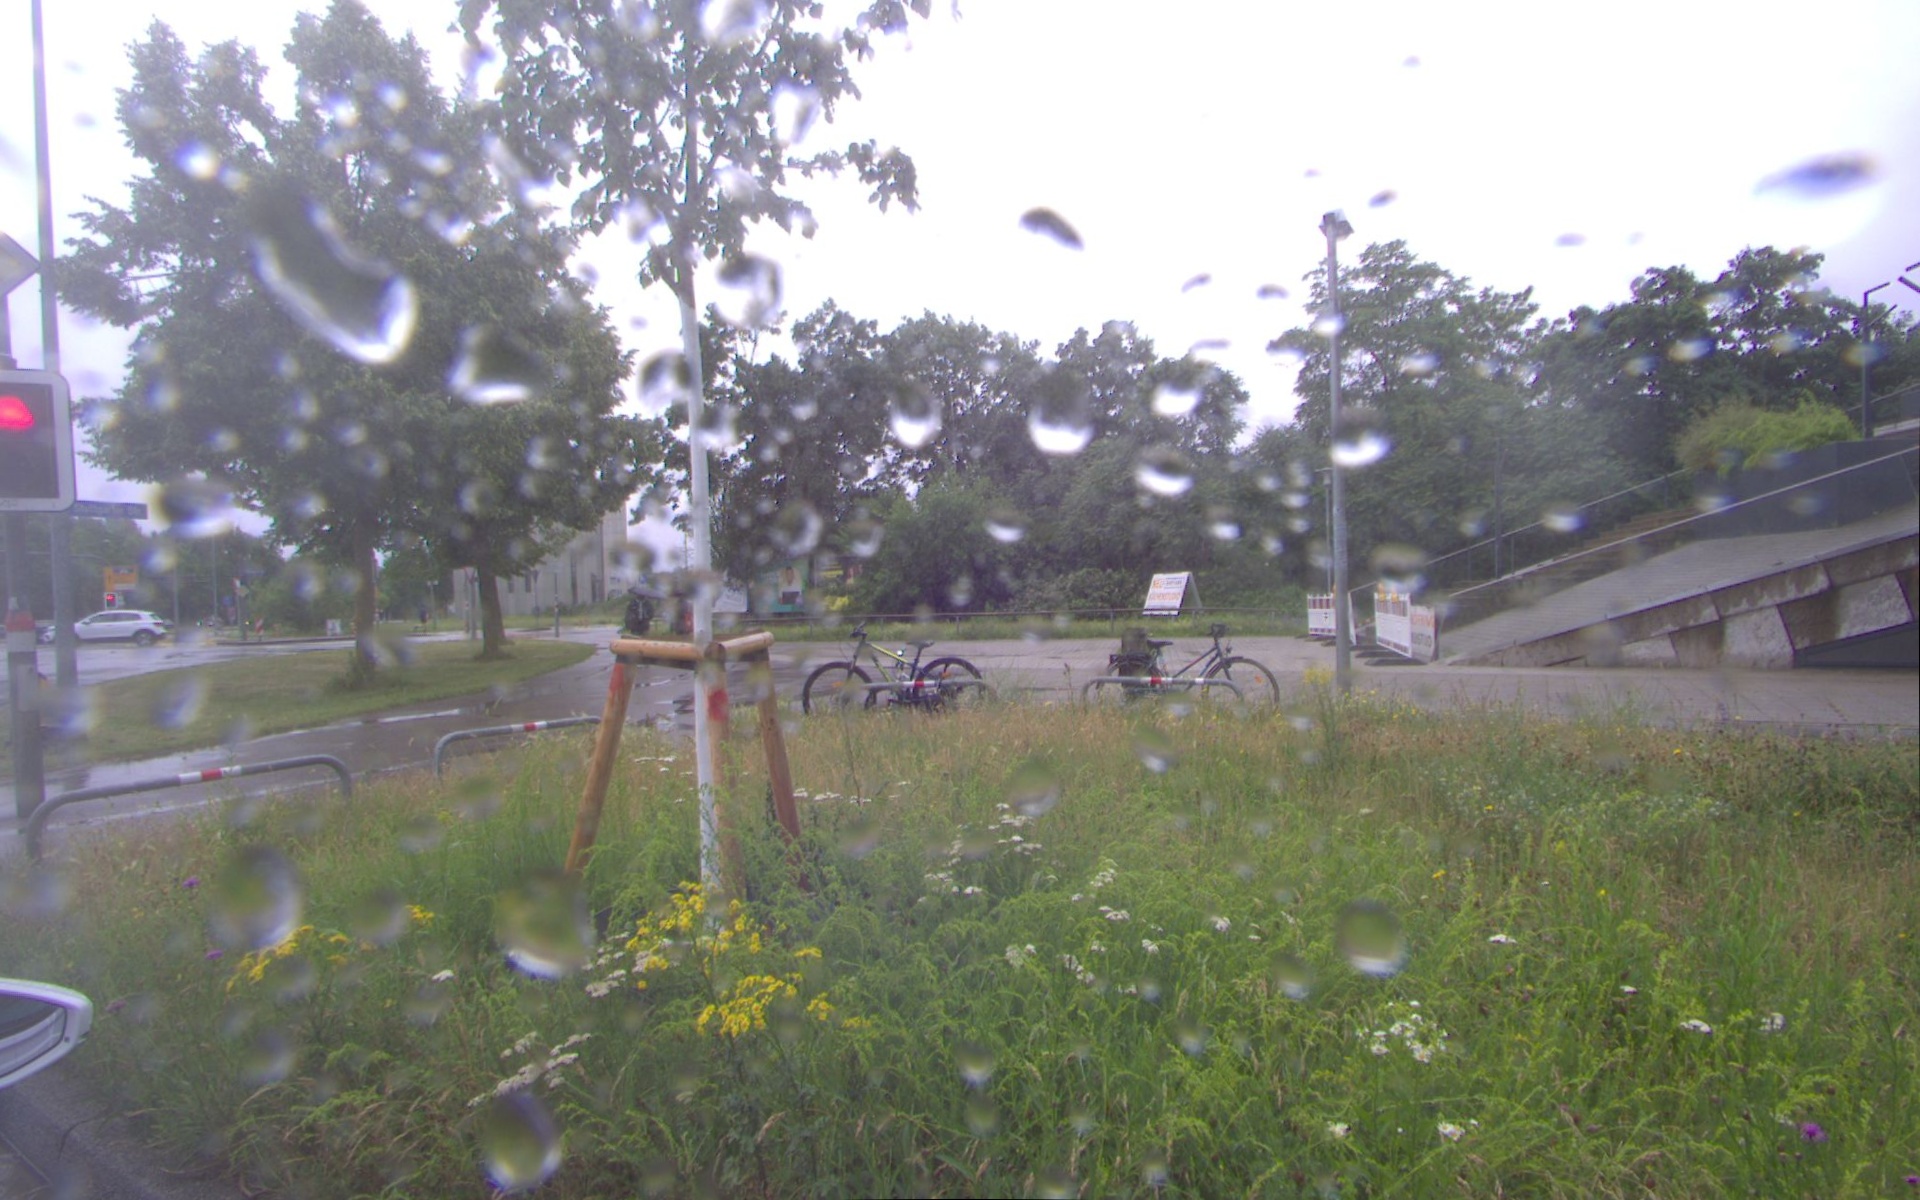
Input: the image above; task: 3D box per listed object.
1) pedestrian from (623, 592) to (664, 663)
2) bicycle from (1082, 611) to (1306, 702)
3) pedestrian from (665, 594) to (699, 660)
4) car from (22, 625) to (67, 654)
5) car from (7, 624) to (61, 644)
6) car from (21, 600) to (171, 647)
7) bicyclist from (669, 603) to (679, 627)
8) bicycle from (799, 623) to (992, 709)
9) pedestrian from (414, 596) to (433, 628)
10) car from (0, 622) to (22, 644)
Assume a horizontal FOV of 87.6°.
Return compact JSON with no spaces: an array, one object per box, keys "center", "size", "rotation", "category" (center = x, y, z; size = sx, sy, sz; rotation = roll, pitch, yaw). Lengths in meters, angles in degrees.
[{"center":[-6.962,0.599,22.045],"size":[0.727,1.542,0.623],"rotation":[0,-1,-5],"category":"pedestrian"},{"center":[2.150,0.527,9.290],"size":[1.972,0.796,0.454],"rotation":[-1,-2,16],"category":"bicycle"},{"center":[-6.457,0.618,23.307],"size":[0.562,1.480,0.682],"rotation":[-2,1,-3],"category":"pedestrian"},{"center":[-50.033,2.133,54.710],"size":[3.947,1.473,1.608],"rotation":[-1,0,45],"category":"car"},{"center":[-78.958,2.919,85.439],"size":[1.770,1.683,3.995],"rotation":[0,-2,-16],"category":"car"},{"center":[-37.368,0.983,43.514],"size":[4.715,1.876,1.986],"rotation":[-1,0,-36],"category":"car"},{"center":[-21.214,1.111,74.263],"size":[0.491,1.764,0.586],"rotation":[-2,-2,44],"category":"bicyclist"},{"center":[-0.611,0.631,9.679],"size":[1.823,0.796,0.380],"rotation":[0,-2,-2],"category":"bicycle"},{"center":[-32.712,0.727,61.073],"size":[0.660,1.892,0.813],"rotation":[-2,-2,40],"category":"pedestrian"},{"center":[-76.688,2.638,79.393],"size":[1.770,1.683,3.995],"rotation":[0,-2,-16],"category":"car"}]
